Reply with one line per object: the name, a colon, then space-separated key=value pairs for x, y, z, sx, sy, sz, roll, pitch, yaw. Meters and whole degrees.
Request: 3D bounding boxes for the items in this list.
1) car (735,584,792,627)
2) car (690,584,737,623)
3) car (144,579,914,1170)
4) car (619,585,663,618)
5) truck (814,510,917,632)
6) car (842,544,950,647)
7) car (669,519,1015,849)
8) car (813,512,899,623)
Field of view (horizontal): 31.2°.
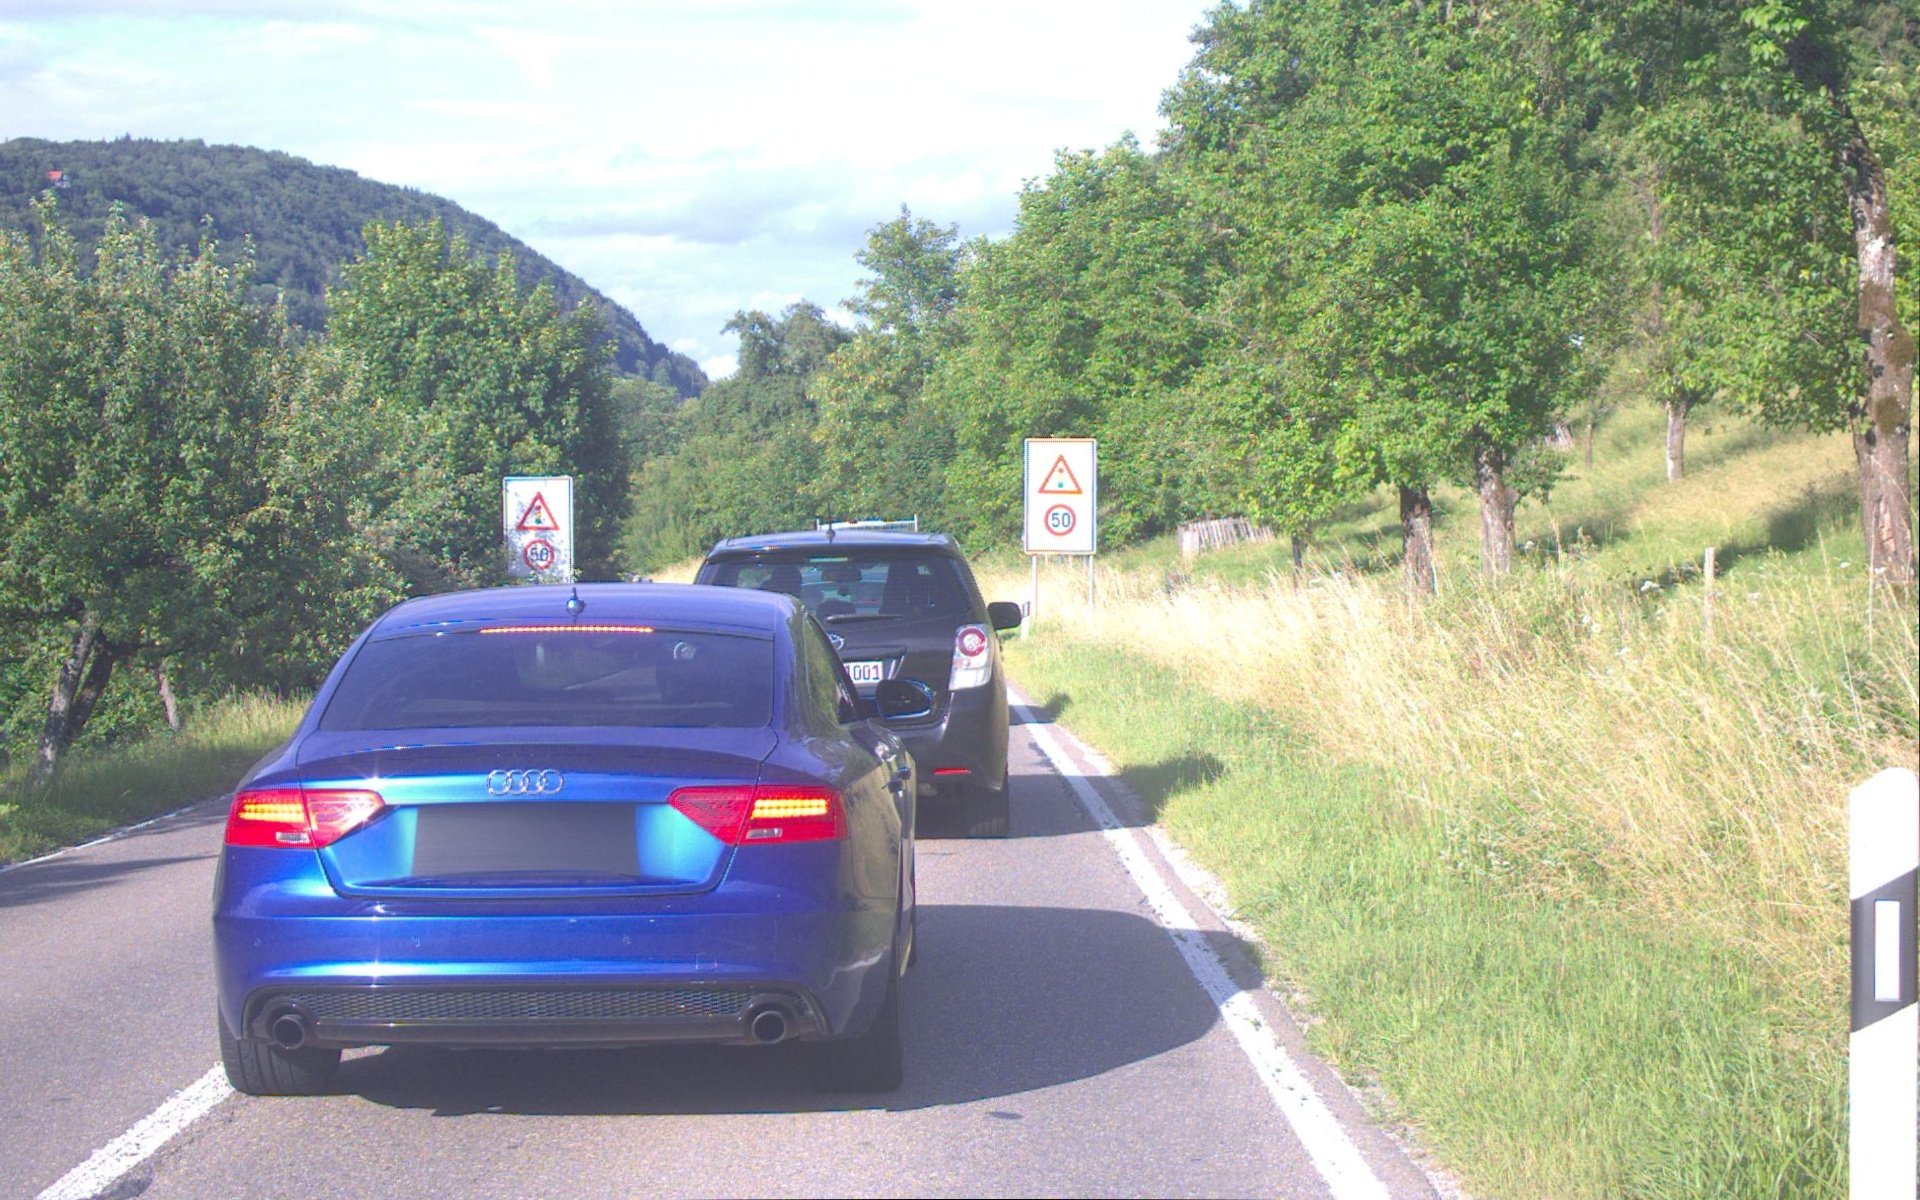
car: x=-7.298 y=0.186 z=127.292 sx=1.747 sy=1.490 sz=3.779 roll=1 pitch=1 yaw=-9
car: x=-10.210 y=0.138 z=142.355 sx=1.558 sy=1.490 sz=3.779 roll=1 pitch=1 yaw=-9
car: x=-1.056 y=0.643 z=10.317 sx=1.805 sy=1.377 sz=4.215 roll=0 pitch=1 yaw=0
car: x=-15.204 y=0.064 z=163.663 sx=1.558 sy=1.490 sz=3.779 roll=1 pitch=1 yaw=-13
truck: x=-1.916 y=-0.610 z=69.839 sx=1.950 sy=2.337 sz=5.094 roll=1 pitch=1 yaw=-2
car: x=-1.035 y=-0.099 z=55.833 sx=1.692 sy=1.618 sz=3.789 roll=0 pitch=1 yaw=-1
car: x=-0.608 y=0.380 z=18.752 sx=1.692 sy=1.618 sz=3.789 roll=0 pitch=1 yaw=-1
car: x=-2.429 y=-0.764 z=79.653 sx=1.792 sy=2.445 sz=3.920 roll=1 pitch=1 yaw=-4
